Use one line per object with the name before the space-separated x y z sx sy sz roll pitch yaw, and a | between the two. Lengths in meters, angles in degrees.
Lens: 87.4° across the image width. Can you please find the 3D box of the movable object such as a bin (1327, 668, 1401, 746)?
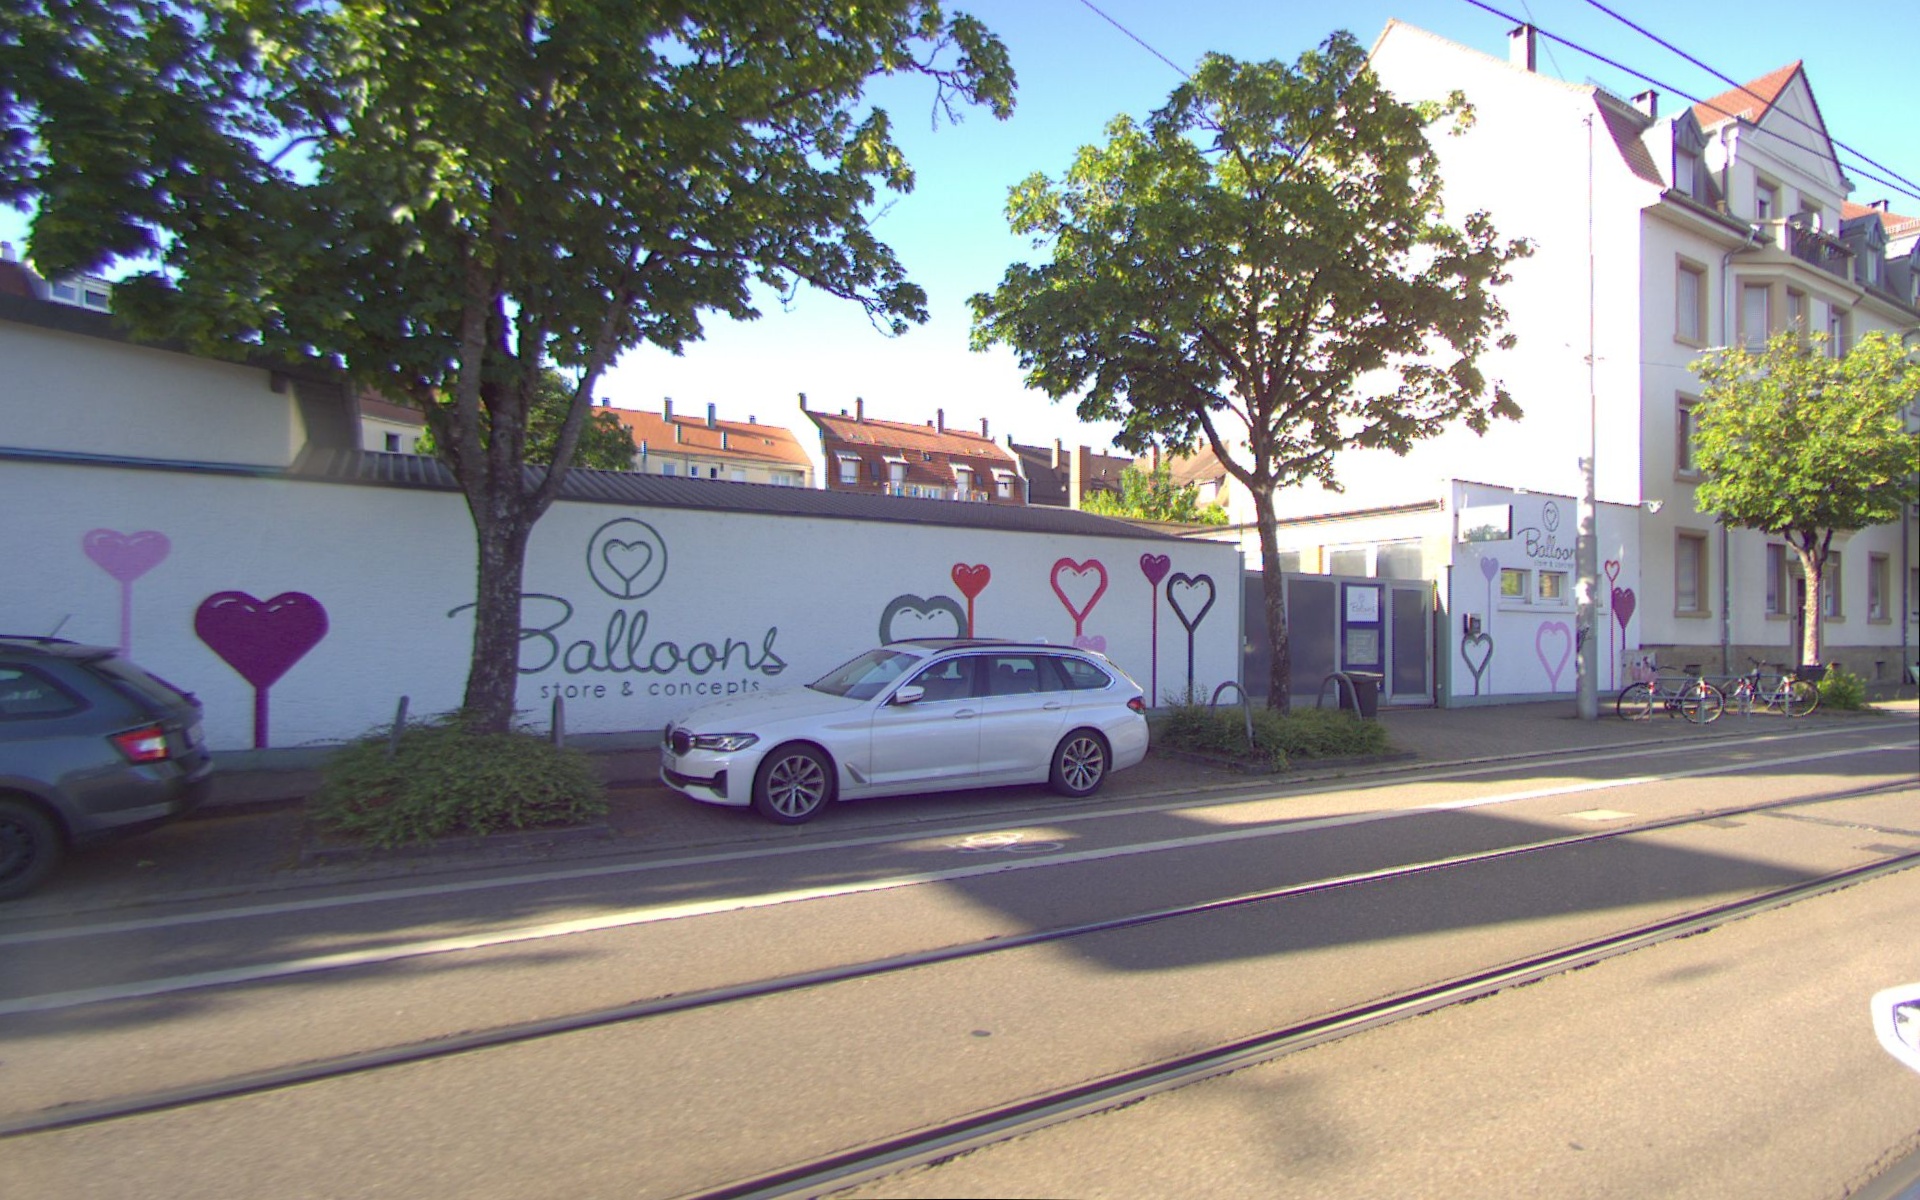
movable object such as a bin | 5.527 1.449 13.758 0.694 0.973 0.579 2 3 -30

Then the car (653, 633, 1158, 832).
car | -0.430 1.126 9.835 4.608 1.510 1.855 2 -1 -31

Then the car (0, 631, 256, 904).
car | -6.844 0.945 5.898 4.255 1.505 1.764 2 -1 -31

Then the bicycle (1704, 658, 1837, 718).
bicycle | 15.747 1.703 19.554 1.947 1.054 0.532 1 -1 14

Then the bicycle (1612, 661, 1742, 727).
bicycle | 12.664 1.645 17.774 1.750 1.054 0.670 1 -1 7
